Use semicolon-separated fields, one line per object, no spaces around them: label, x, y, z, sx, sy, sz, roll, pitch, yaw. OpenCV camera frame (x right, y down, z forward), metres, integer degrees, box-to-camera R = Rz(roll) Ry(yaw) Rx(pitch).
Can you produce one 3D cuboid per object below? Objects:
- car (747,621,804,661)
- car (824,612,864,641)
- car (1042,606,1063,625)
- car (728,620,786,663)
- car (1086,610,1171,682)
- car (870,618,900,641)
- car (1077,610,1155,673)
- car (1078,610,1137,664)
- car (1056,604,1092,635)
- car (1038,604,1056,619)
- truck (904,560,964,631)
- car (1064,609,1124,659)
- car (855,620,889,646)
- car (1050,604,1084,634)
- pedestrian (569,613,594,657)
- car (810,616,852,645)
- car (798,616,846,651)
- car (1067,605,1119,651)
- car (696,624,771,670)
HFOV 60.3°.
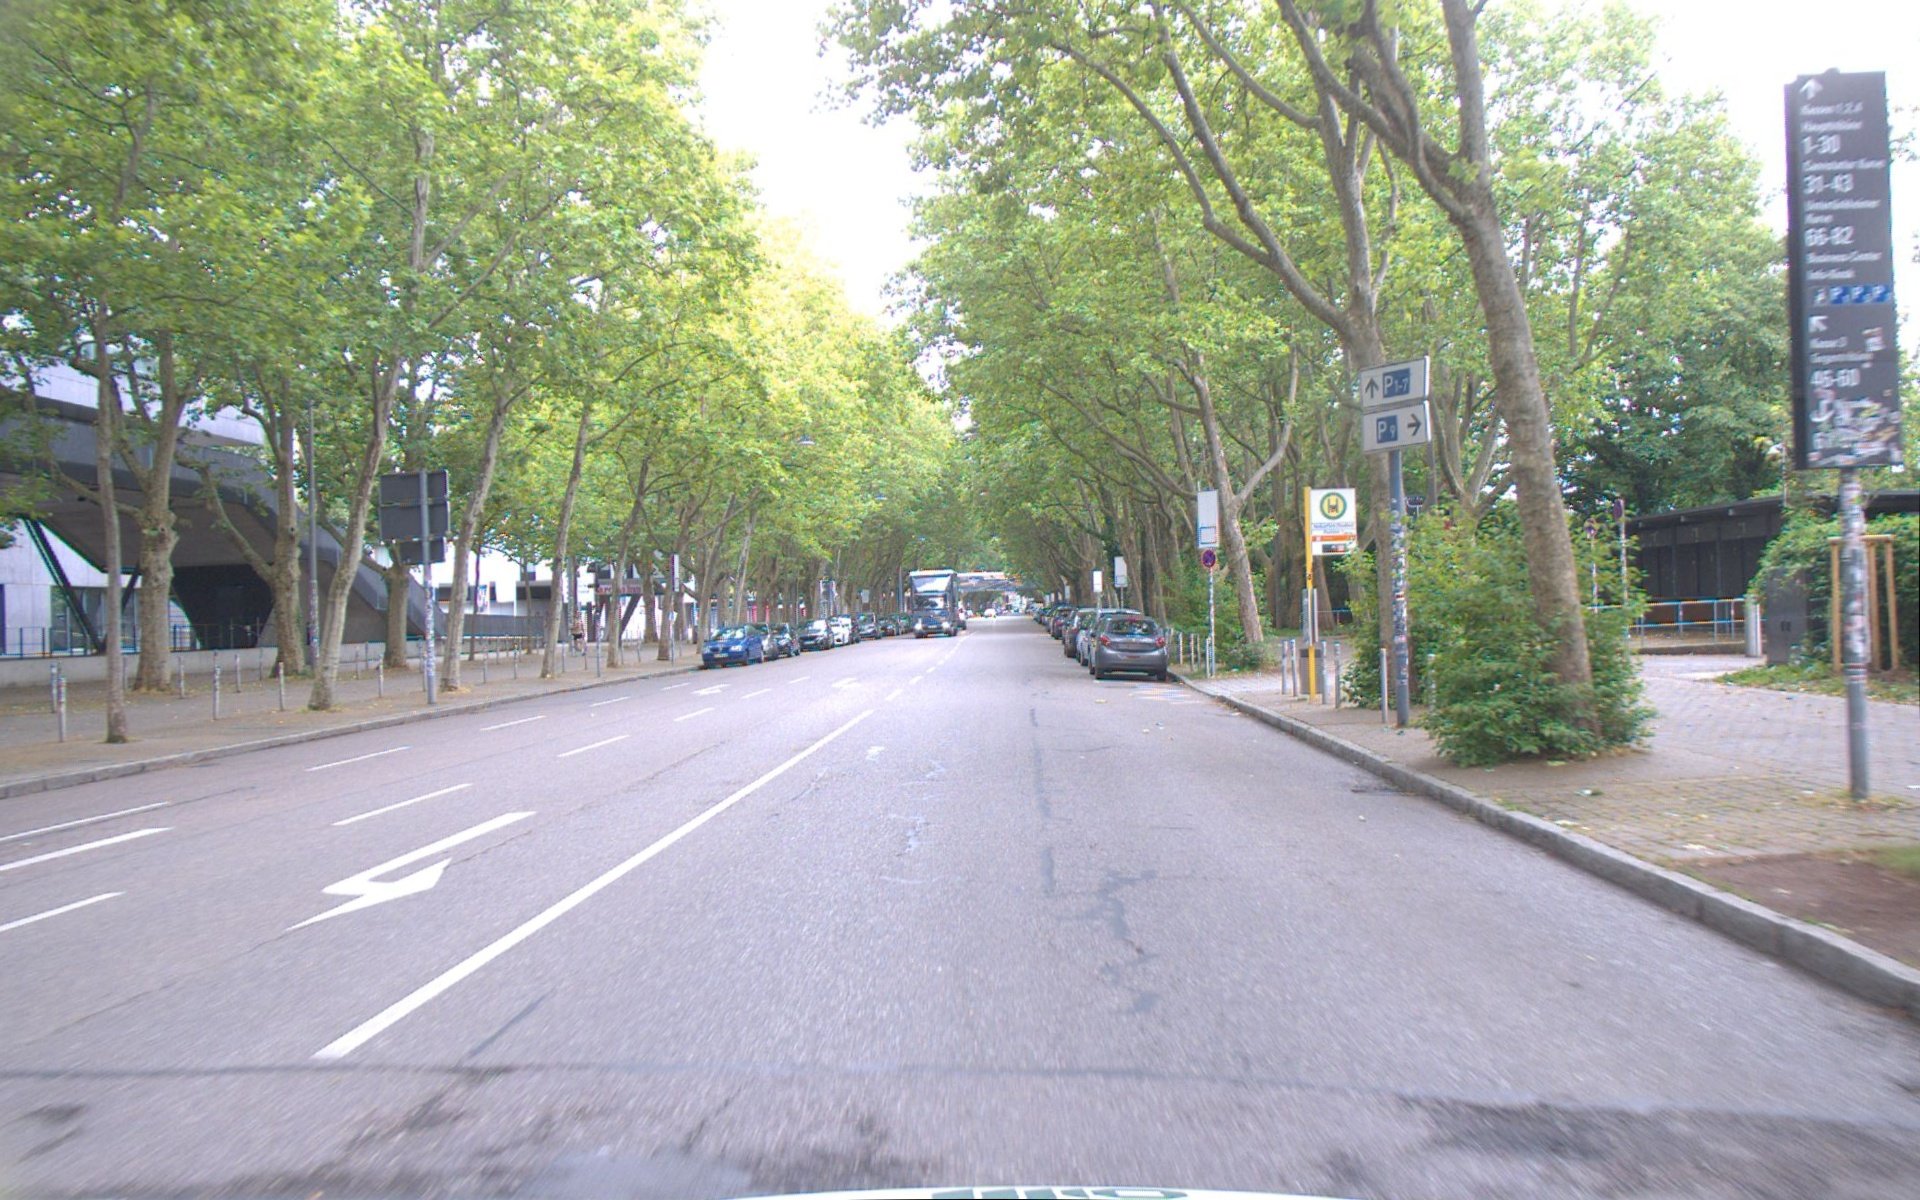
car;-7.521;1.686;67.756;1.729;1.443;3.762;-5;-1;1
car;-6.333;1.466;90.624;1.856;1.463;3.999;-3;-2;0
car;8.173;1.357;146.580;1.720;1.561;3.930;-3;-1;2
car;-7.709;1.589;63.013;1.730;1.443;3.760;-5;-1;-1
car;3.982;1.049;39.703;1.664;1.545;4.455;2;0;2
car;-5.304;2.133;117.422;1.856;1.463;3.999;-3;-2;0
car;4.237;1.104;45.430;1.684;1.594;4.094;2;0;0
car;4.474;1.101;50.453;1.640;1.516;3.688;2;0;4
car;5.895;1.019;85.929;1.719;1.561;3.930;1;0;2
car;8.865;1.177;168.790;1.719;1.561;3.930;1;0;2
truck;-1.478;-0.228;100.348;2.586;3.969;9.545;-3;-1;4
car;4.431;1.104;55.079;1.719;1.516;4.417;2;0;2
car;-5.583;2.101;104.956;1.856;1.463;3.999;-3;-2;0
car;5.941;1.068;91.855;1.719;1.561;3.930;-2;-1;2
pedestrian;-16.320;1.506;71.287;0.762;1.867;0.869;-1;-1;-33
car;-6.608;1.597;84.912;1.697;1.355;4.000;-3;-2;1
car;-6.467;1.587;77.635;1.729;1.443;3.762;-5;-1;1
car;4.857;1.013;60.777;1.719;1.625;3.930;1;0;2
car;-7.946;1.623;58.244;1.660;1.443;3.764;-5;-1;6
